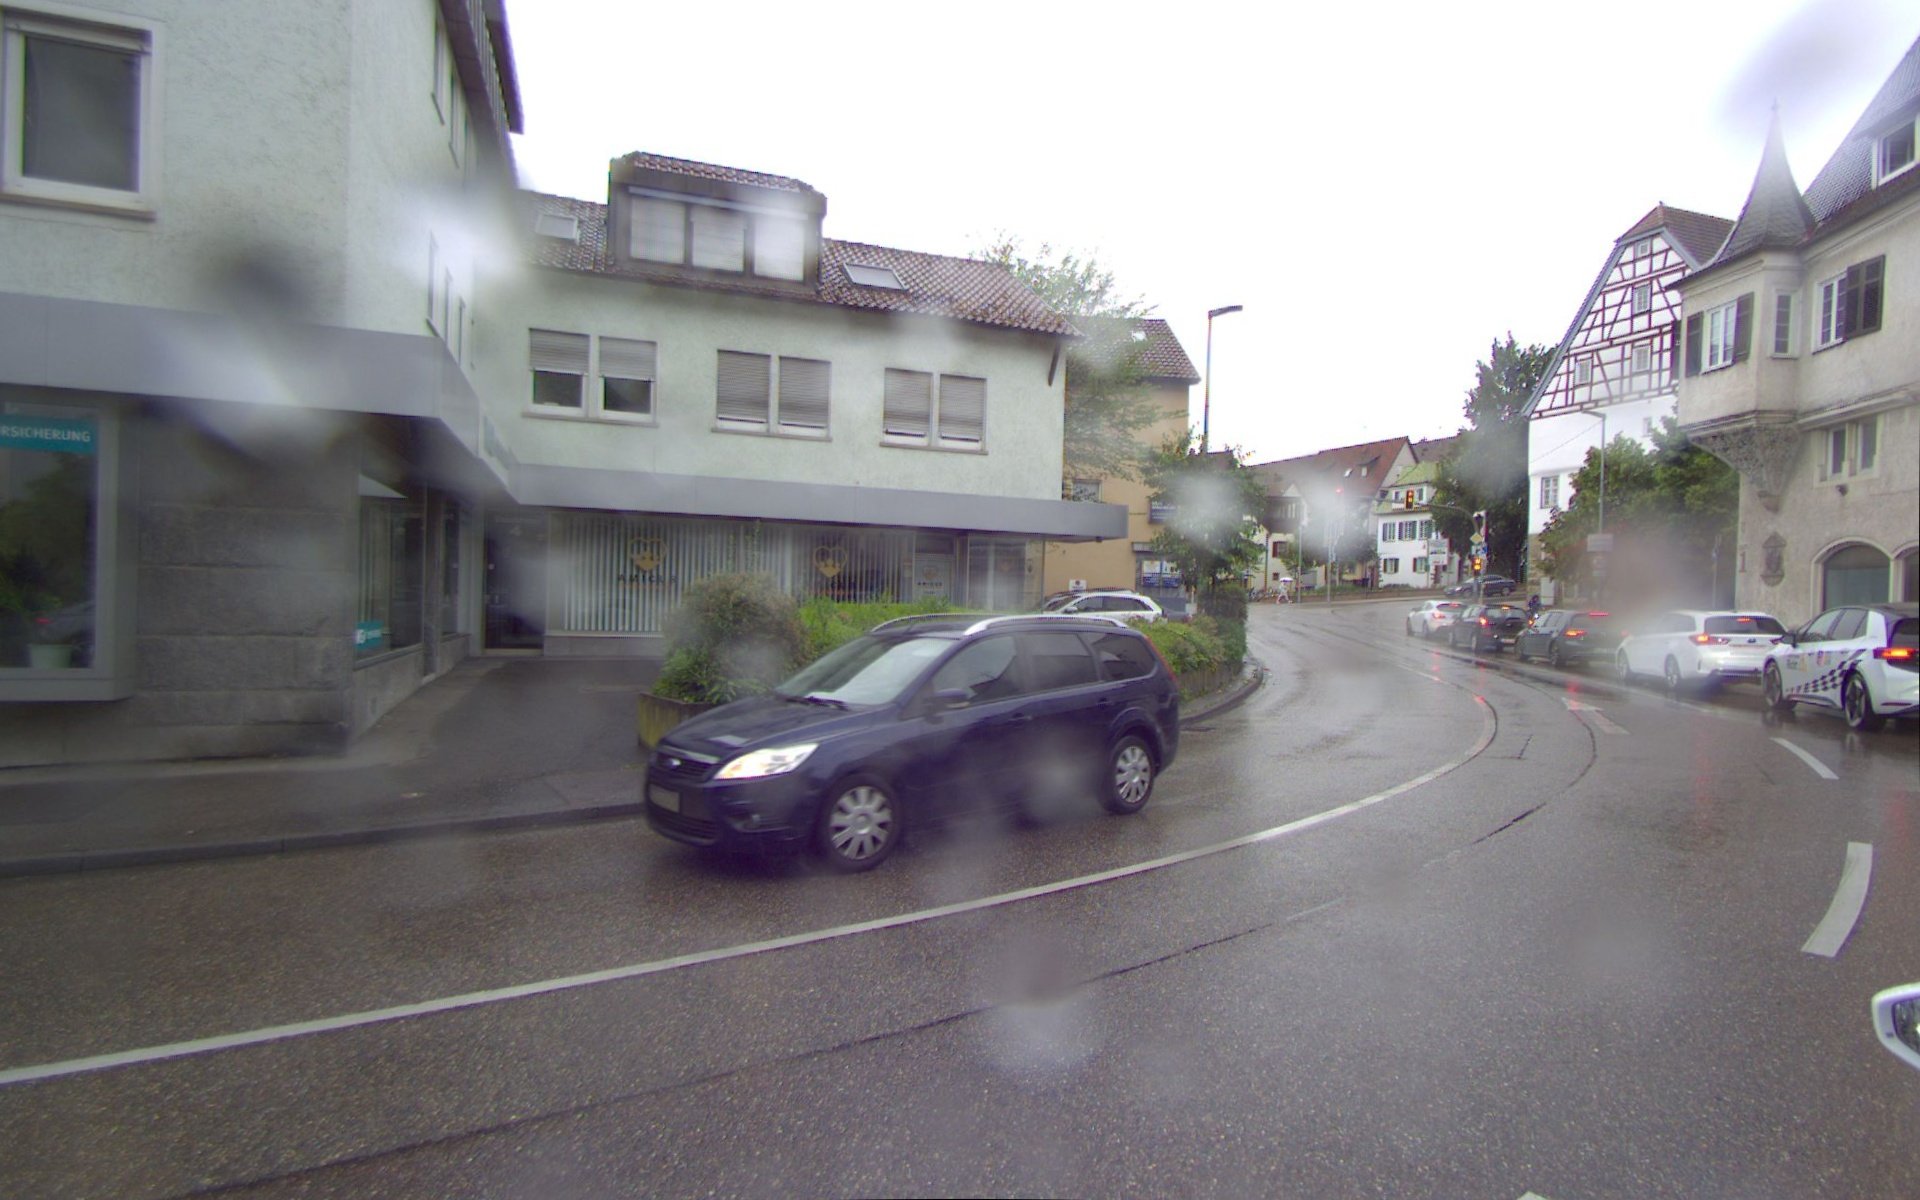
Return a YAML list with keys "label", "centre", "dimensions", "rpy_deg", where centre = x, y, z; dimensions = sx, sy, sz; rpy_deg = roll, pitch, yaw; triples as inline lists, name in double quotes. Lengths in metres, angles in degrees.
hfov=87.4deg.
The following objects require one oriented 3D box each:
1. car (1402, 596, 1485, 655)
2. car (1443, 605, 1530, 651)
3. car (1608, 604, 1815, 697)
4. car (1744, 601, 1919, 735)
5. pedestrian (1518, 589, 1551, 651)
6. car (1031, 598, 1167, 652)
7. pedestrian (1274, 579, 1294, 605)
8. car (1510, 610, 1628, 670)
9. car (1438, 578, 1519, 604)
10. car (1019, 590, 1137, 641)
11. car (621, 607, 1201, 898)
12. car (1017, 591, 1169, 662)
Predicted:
- label: "car"
  centre: [18.663, 0.945, 38.966]
  dimensions: [1.939, 2.118, 3.963]
  rpy_deg: [0, 1, 11]
- label: "car"
  centre: [16.950, 0.873, 32.495]
  dimensions: [1.634, 1.330, 3.625]
  rpy_deg: [0, 1, 13]
- label: "car"
  centre: [13.957, 0.859, 18.957]
  dimensions: [1.755, 1.485, 4.165]
  rpy_deg: [0, 1, 16]
- label: "car"
  centre: [12.203, 0.794, 13.321]
  dimensions: [1.760, 1.537, 4.239]
  rpy_deg: [0, -1, 22]
- label: "pedestrian"
  centre: [22.468, 0.772, 39.299]
  dimensions: [0.851, 2.357, 1.231]
  rpy_deg: [1, 0, 18]
- label: "car"
  centre: [3.875, 0.682, 28.248]
  dimensions: [3.472, 1.475, 1.710]
  rpy_deg: [0, 1, -8]
- label: "pedestrian"
  centre: [22.090, -0.533, 68.539]
  dimensions: [1.126, 1.765, 1.006]
  rpy_deg: [1, 0, 11]
- label: "car"
  centre: [15.640, 0.981, 25.986]
  dimensions: [1.493, 1.380, 3.769]
  rpy_deg: [0, 1, 13]
- label: "car"
  centre: [33.523, -0.617, 64.977]
  dimensions: [4.446, 1.409, 1.648]
  rpy_deg: [1, 7, -8]
- label: "car"
  centre: [3.806, 0.495, 32.700]
  dimensions: [3.472, 1.597, 1.710]
  rpy_deg: [0, 1, -8]
- label: "car"
  centre: [-0.112, 0.845, 7.421]
  dimensions: [4.245, 1.530, 1.715]
  rpy_deg: [1, -1, -45]
- label: "car"
  centre: [3.290, 0.631, 25.197]
  dimensions: [3.472, 1.708, 1.710]
  rpy_deg: [0, 1, -8]
